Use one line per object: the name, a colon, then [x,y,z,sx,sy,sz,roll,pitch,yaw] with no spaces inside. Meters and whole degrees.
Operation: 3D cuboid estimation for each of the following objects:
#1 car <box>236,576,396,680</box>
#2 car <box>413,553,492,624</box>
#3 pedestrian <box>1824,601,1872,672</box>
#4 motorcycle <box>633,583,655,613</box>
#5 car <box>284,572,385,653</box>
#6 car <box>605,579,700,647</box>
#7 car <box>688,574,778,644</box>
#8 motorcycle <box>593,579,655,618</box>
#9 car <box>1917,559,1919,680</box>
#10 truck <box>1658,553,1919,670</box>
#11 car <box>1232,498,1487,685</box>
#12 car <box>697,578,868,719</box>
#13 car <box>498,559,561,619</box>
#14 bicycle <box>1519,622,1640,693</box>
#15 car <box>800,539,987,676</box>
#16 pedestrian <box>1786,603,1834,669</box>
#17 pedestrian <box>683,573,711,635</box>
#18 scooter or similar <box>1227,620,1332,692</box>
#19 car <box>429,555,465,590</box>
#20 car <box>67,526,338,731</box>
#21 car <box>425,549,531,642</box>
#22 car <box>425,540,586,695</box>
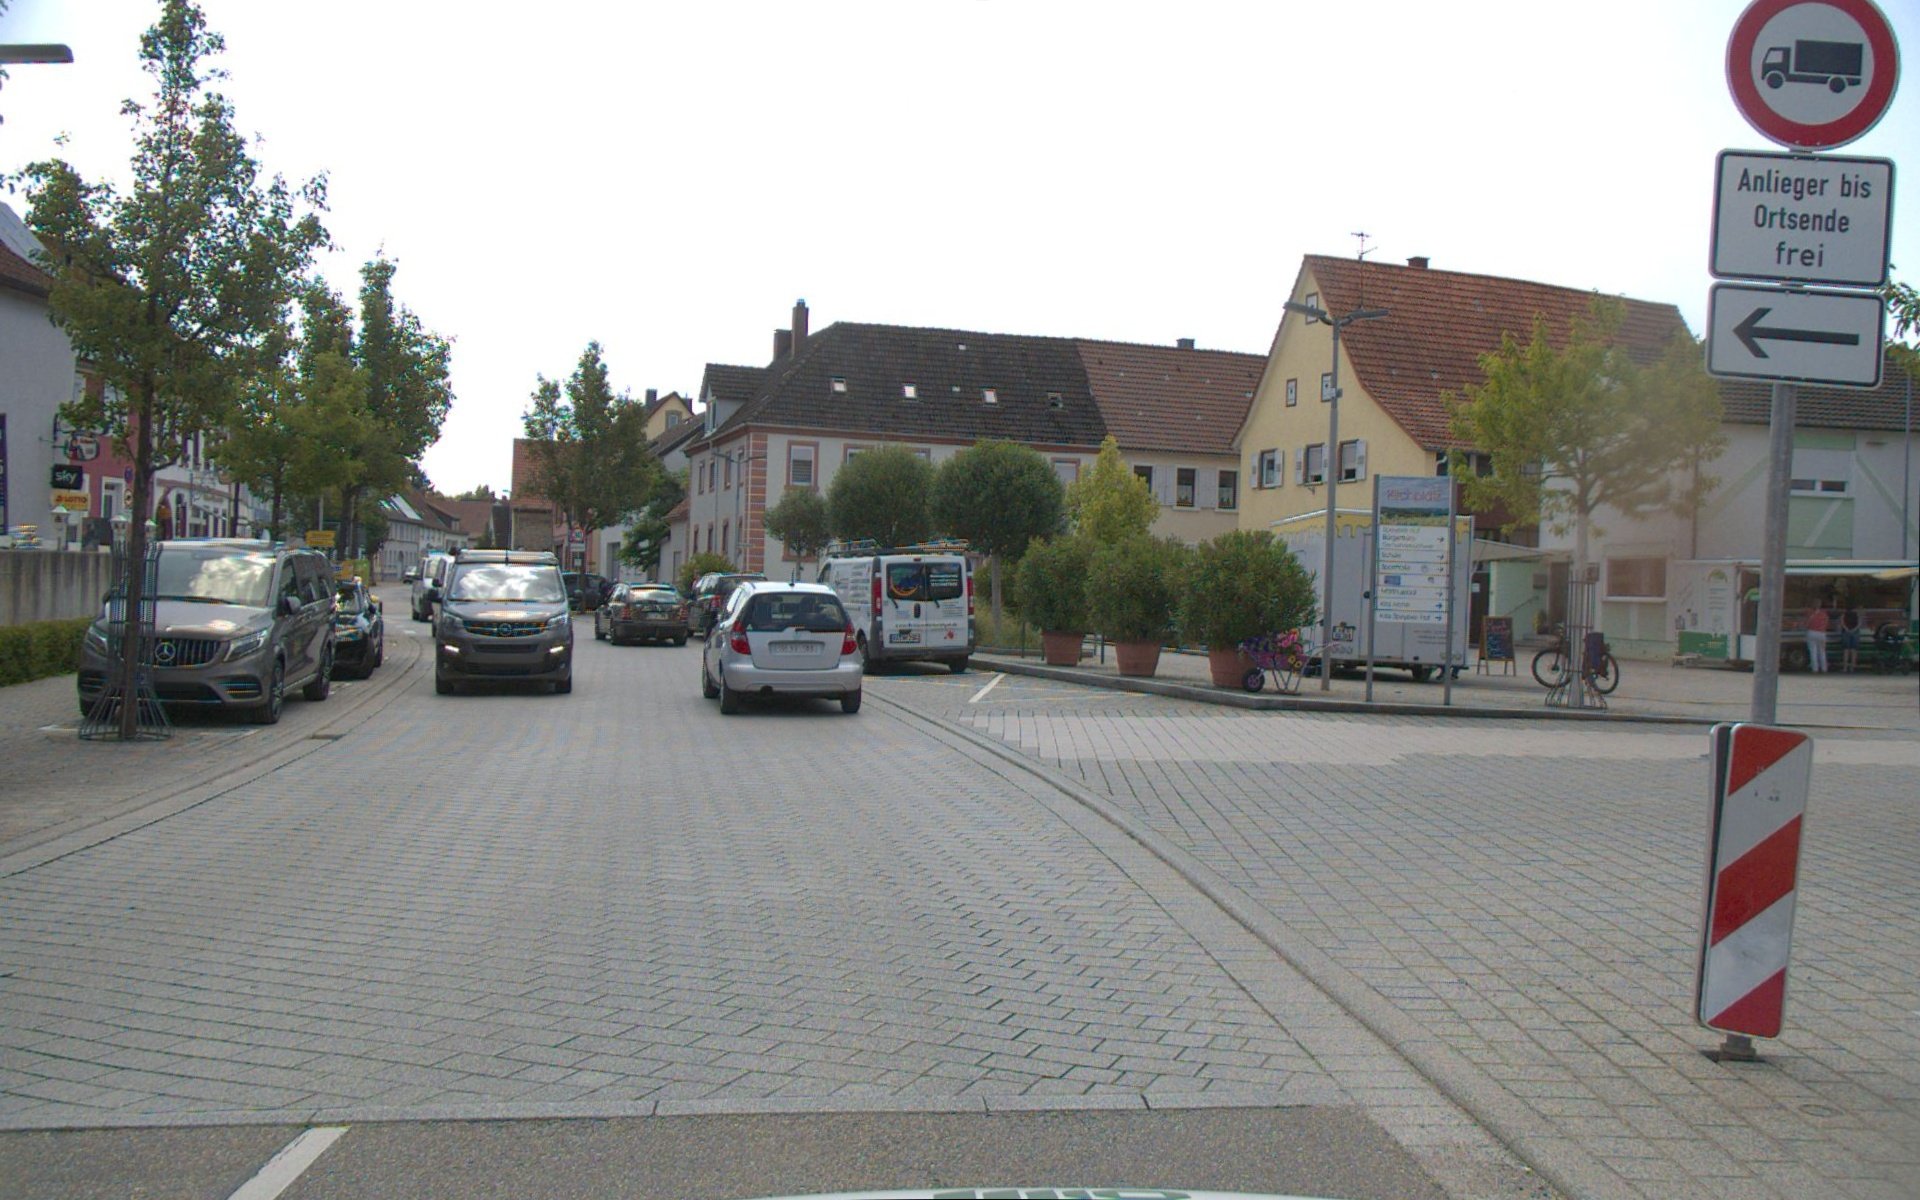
car: [-10.015,0.379,26.022,1.786,1.448,4.520,2,1,-15]
car: [-15.701,-0.376,51.024,1.966,2.049,4.709,1,1,-22]
pedestrian: [20.096,0.809,37.427,0.549,1.567,0.813,1,0,-9]
motorcycle: [-12.254,-0.071,64.144,0.517,1.143,1.059,1,1,-27]
car: [-12.384,0.209,32.924,1.642,1.500,3.943,1,1,-18]
car: [-7.214,0.268,38.574,1.912,1.432,3.986,2,1,-14]
car: [-5.619,0.188,40.551,1.739,1.592,4.402,1,0,-14]
motorcycle: [-12.600,-0.047,61.989,2.173,1.419,0.872,1,0,23]
car: [19.075,0.358,29.789,2.593,2.520,6.958,1,0,26]
truck: [20.524,0.281,39.300,6.676,2.541,2.952,2,0,-9]
car: [7.288,-0.134,31.292,2.698,3.014,7.109,2,0,-3]
car: [-2.409,0.555,21.634,1.738,1.622,3.987,2,1,-13]
car: [-15.276,-0.374,58.566,1.742,1.920,4.422,4,-1,-19]
bicycle: [10.523,0.965,28.174,0.743,1.087,2.099,2,1,-20]
car: [-1.305,0.064,29.463,1.914,2.215,5.072,-1,1,-20]
pedestrian: [19.105,0.811,37.196,0.631,1.467,0.759,0,0,-10]
pedestrian: [-7.092,0.098,44.573,0.629,1.657,0.617,1,0,-18]
scooter or similar: [4.171,0.724,21.616,1.121,0.896,0.813,1,0,-11]
car: [-28.721,-1.514,92.487,1.615,1.881,3.582,1,0,-22]
car: [-8.537,0.261,19.117,1.953,2.025,5.024,2,1,-15]
car: [-11.393,-0.137,38.890,1.966,2.049,4.709,1,1,-22]
car: [-6.613,0.202,24.521,1.958,2.049,4.726,1,1,-12]
